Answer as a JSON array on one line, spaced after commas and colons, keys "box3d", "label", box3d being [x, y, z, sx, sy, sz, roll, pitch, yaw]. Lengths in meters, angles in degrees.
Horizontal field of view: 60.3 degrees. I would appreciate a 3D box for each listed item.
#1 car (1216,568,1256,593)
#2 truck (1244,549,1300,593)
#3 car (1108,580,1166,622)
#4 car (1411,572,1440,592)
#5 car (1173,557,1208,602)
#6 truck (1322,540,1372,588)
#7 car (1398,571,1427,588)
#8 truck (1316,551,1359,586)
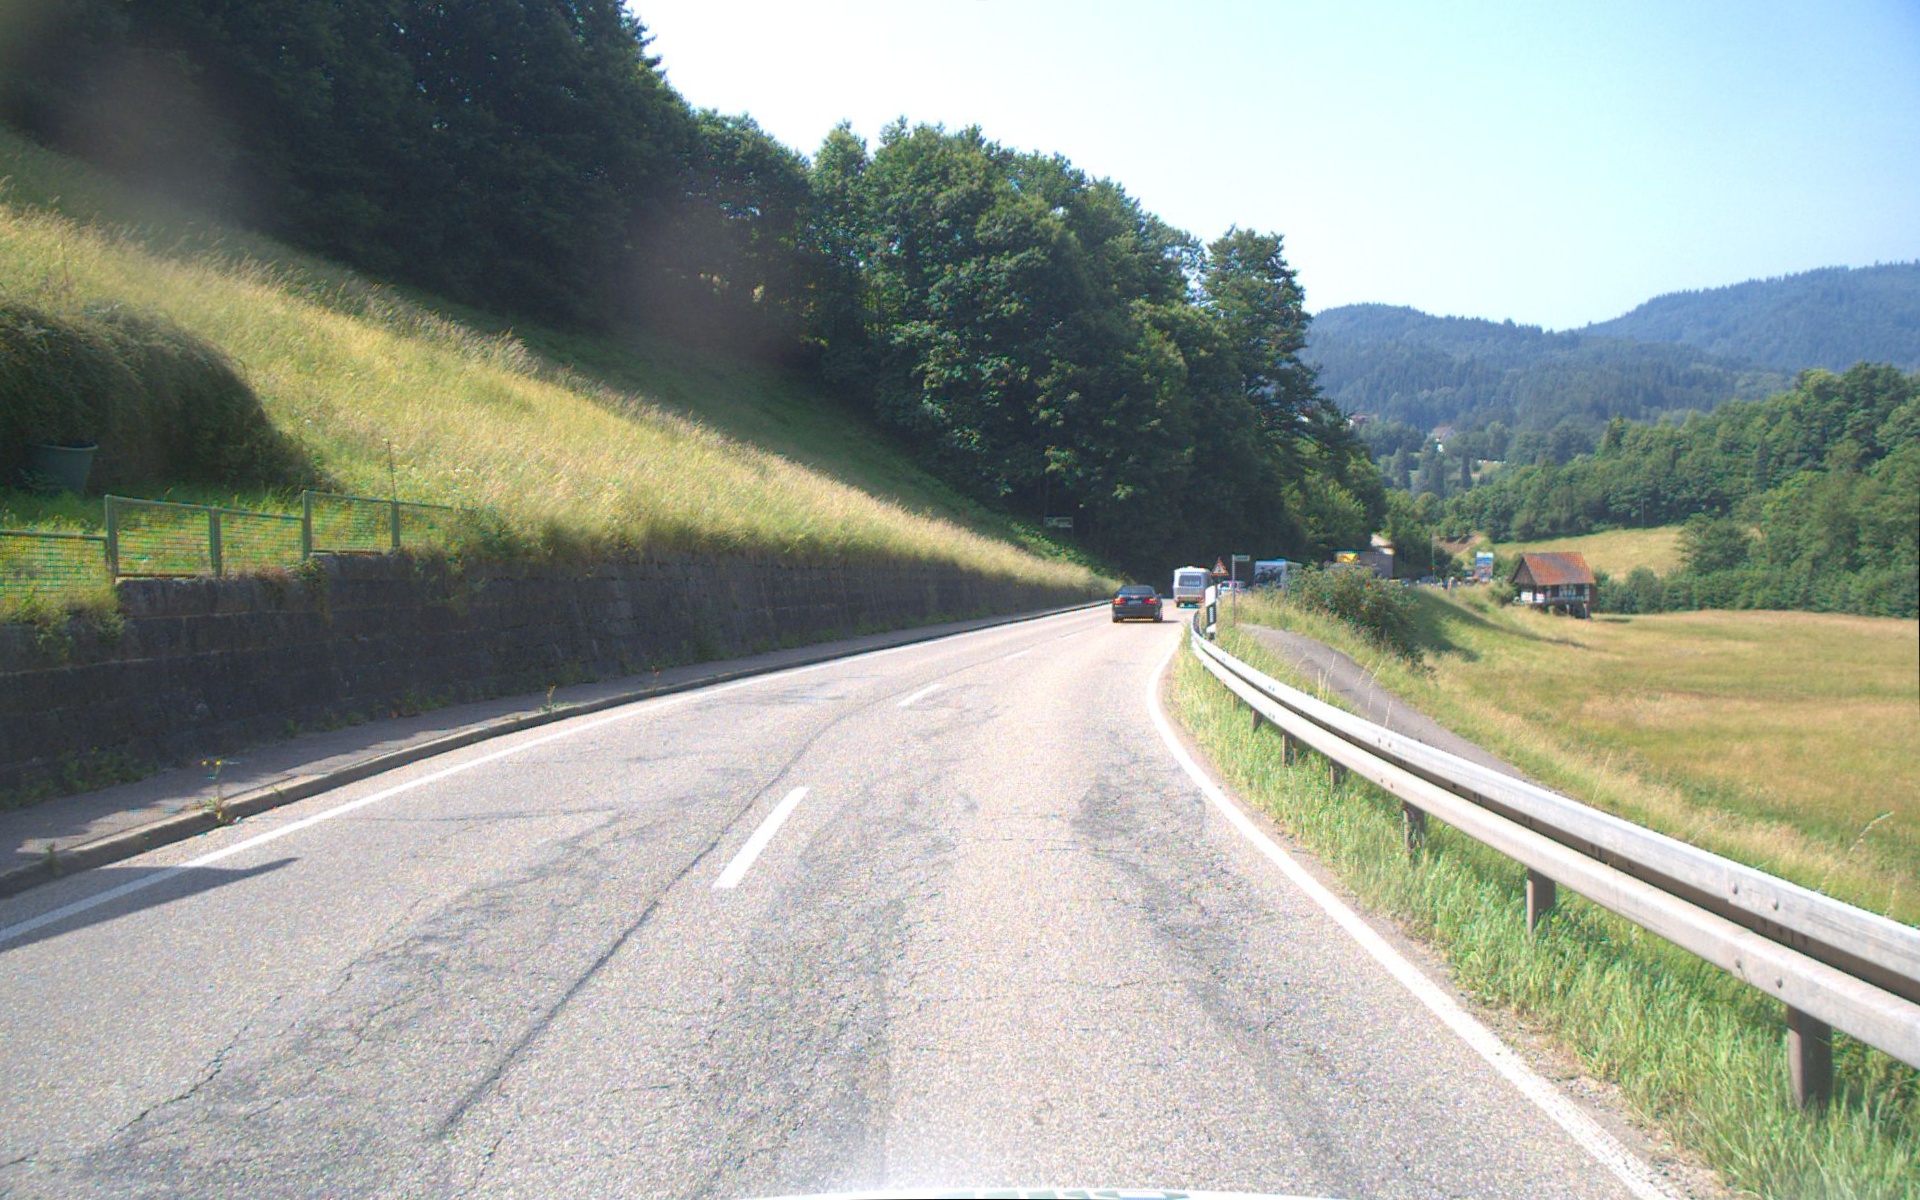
[{"box3d": [18.338, -1.298, 109.845, 1.952, 1.510, 4.002, 3, 2, 19], "label": "car"}, {"box3d": [23.089, -2.214, 122.226, 2.734, 3.049, 6.869, 3, 3, 21], "label": "truck"}, {"box3d": [6.576, 0.024, 61.122, 1.733, 1.358, 3.771, 1, 2, 12], "label": "car"}, {"box3d": [48.256, -1.866, 171.494, 1.957, 1.959, 3.992, 3, 2, 30], "label": "car"}, {"box3d": [13.264, -1.221, 95.403, 1.951, 2.393, 4.919, 1, 2, 7], "label": "car"}, {"box3d": [37.470, -3.504, 160.162, 3.127, 4.472, 6.564, 2, 2, 27], "label": "truck"}, {"box3d": [44.592, -2.013, 162.884, 1.870, 1.511, 3.995, 3, 3, 28], "label": "car"}, {"box3d": [32.592, -2.710, 142.611, 2.193, 2.853, 6.226, 2, 0, 26], "label": "truck"}]
